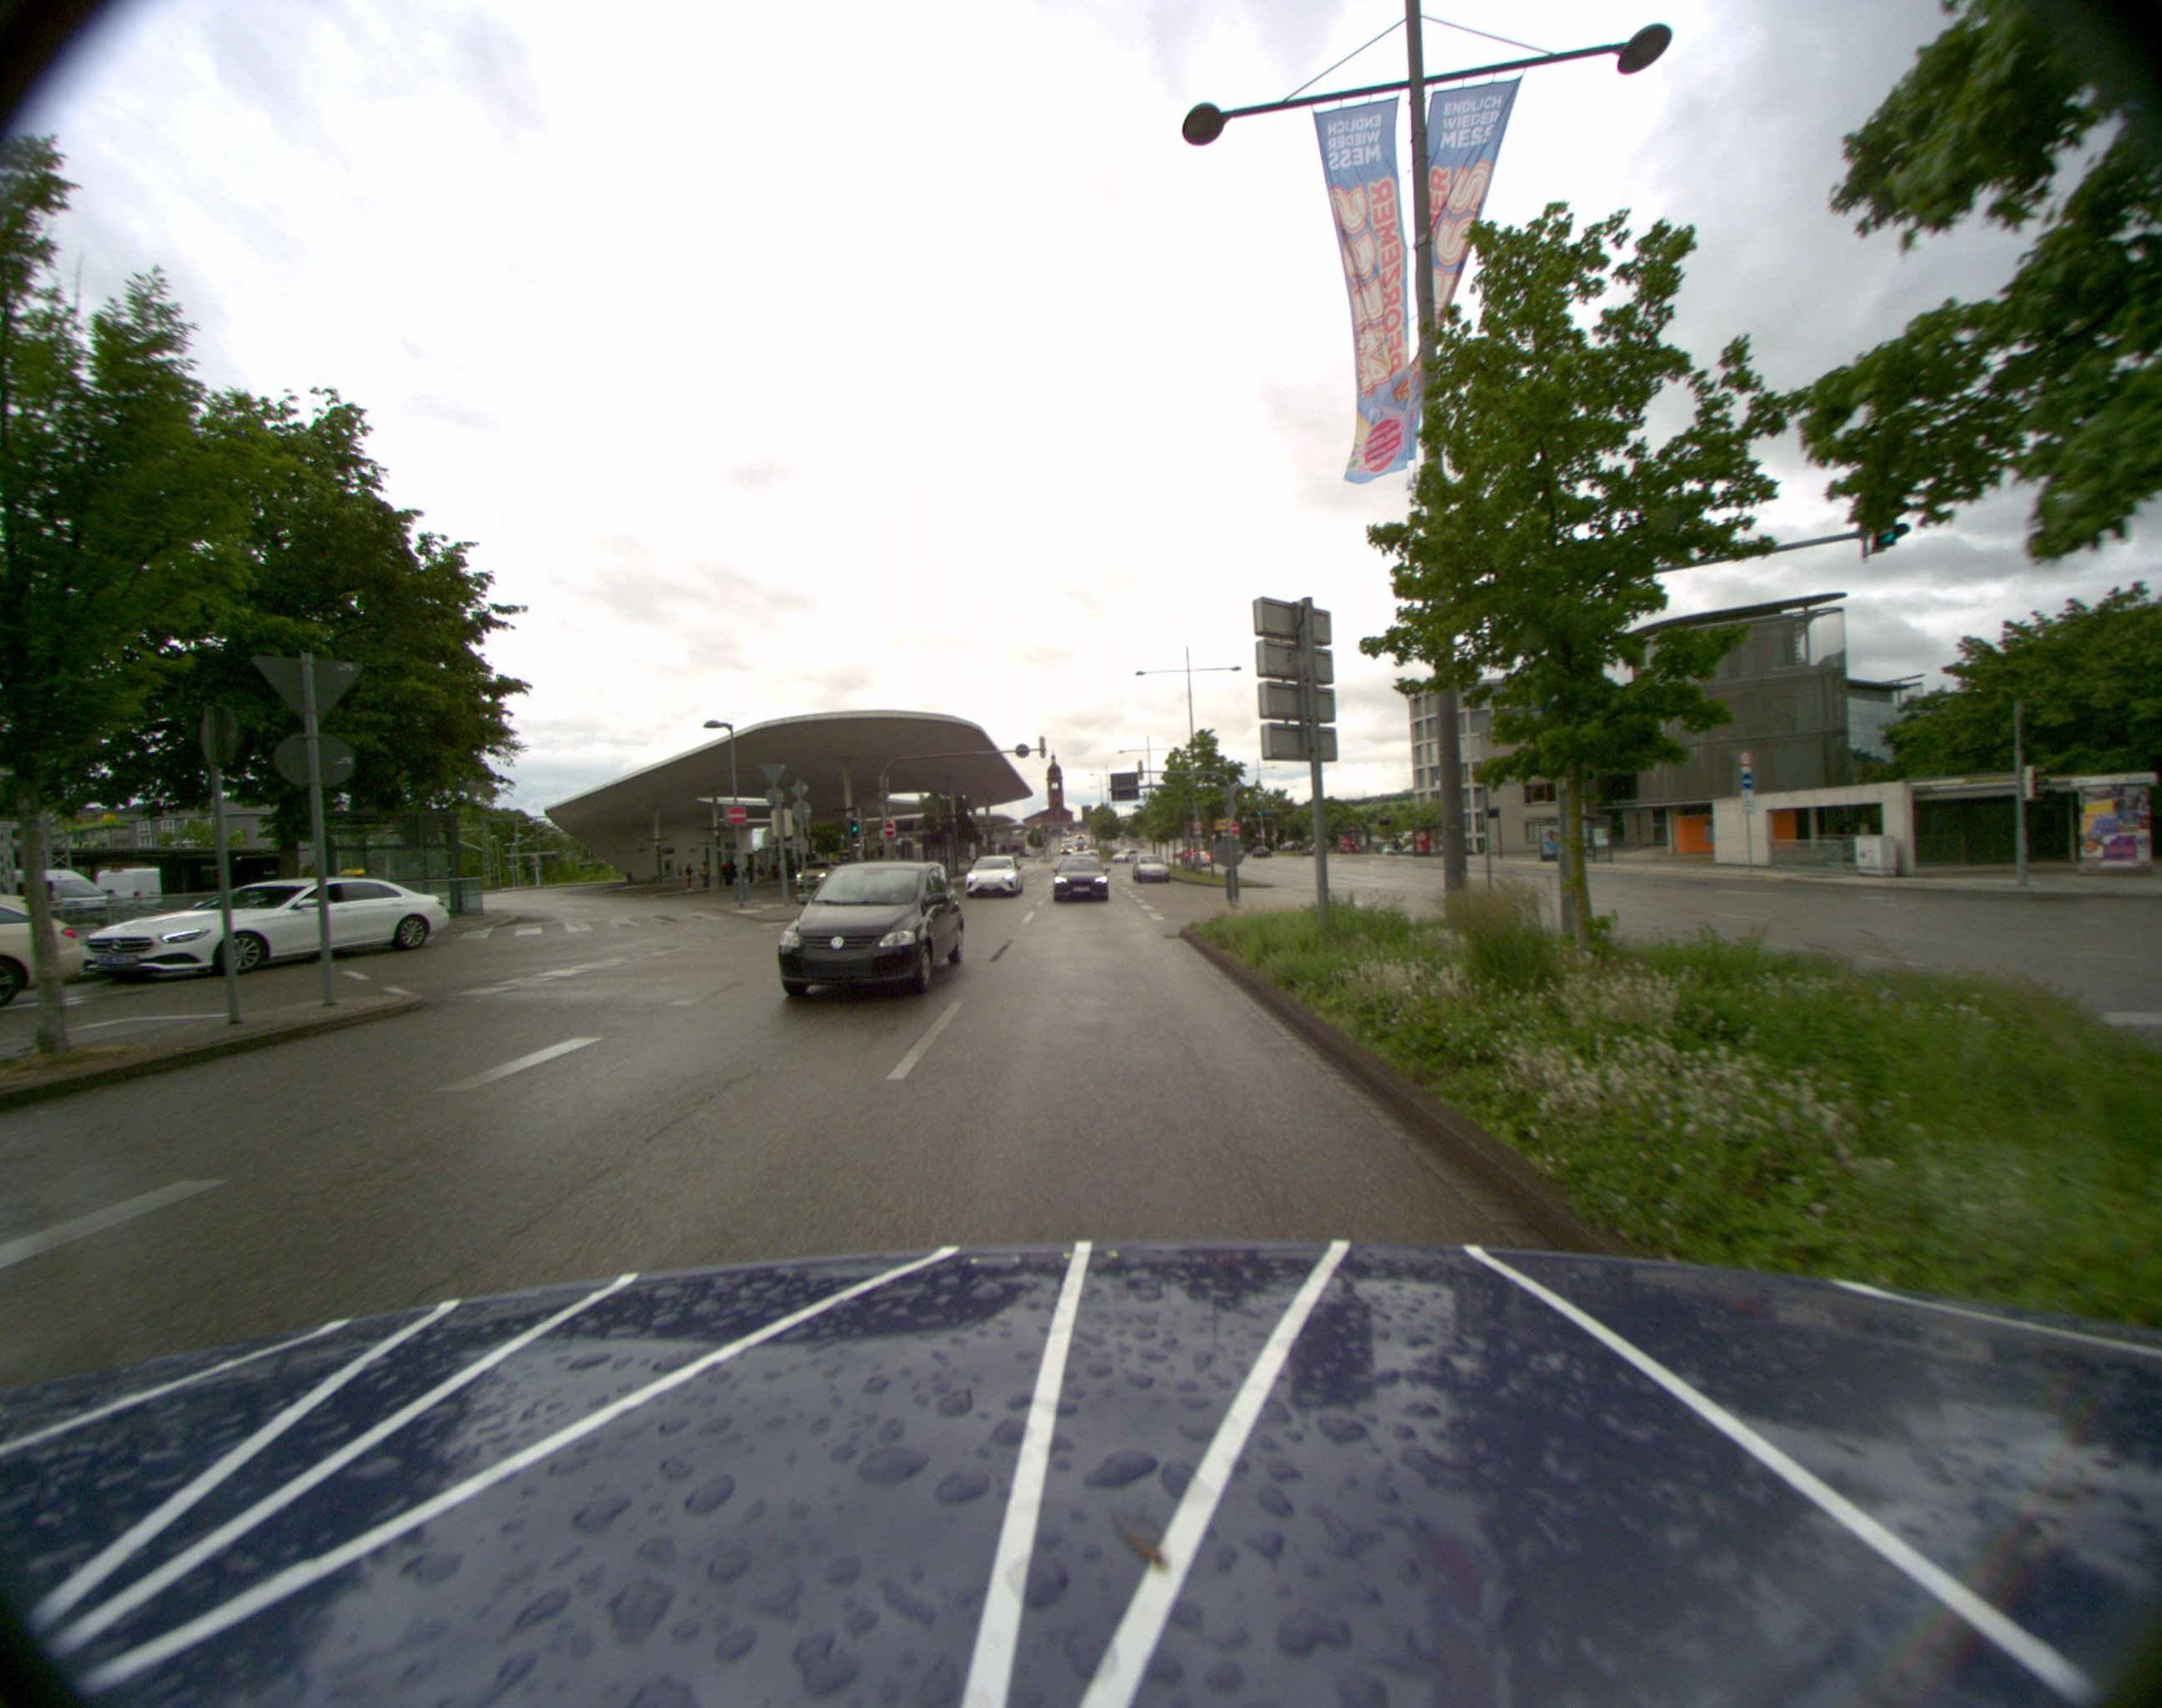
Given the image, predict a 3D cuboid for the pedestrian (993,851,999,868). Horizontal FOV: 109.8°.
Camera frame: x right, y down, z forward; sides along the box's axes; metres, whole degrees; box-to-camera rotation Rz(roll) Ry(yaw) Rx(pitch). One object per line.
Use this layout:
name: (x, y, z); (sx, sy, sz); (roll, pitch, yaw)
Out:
pedestrian: (-8.941, 0.586, 79.906); (0.446, 1.754, 0.536); (-2, 1, -20)

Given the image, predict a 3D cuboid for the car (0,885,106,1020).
car: (-14.063, 1.236, 7.656); (1.998, 1.590, 4.958); (-1, 1, 1)

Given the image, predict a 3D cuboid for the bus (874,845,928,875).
bus: (-19.447, 0.554, 83.140); (2.876, 3.064, 11.921); (-1, 0, 1)

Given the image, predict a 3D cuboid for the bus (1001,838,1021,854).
bus: (-14.394, -1.565, 155.155); (3.585, 3.080, 10.745); (-2, 1, -8)

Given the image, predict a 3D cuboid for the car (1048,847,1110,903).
car: (-0.142, 0.628, 25.757); (1.876, 1.692, 4.155); (-1, 1, -3)

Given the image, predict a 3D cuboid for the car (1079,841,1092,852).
car: (0.829, -1.450, 141.520); (1.999, 2.002, 3.997); (-1, 1, -5)

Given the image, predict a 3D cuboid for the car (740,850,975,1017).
car: (-2.618, 0.815, 9.999); (1.876, 1.692, 4.156); (-1, 1, -1)

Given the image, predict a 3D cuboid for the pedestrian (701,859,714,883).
pedestrian: (-23.715, 1.059, 48.220); (0.533, 1.505, 0.480); (-1, 1, 35)

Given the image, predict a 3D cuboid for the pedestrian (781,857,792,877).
pedestrian: (-21.664, 0.957, 55.908); (0.478, 1.505, 0.535); (-1, 1, 4)

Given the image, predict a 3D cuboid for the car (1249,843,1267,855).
car: (22.686, -0.671, 97.579); (1.680, 1.503, 3.864); (-1, 1, 4)

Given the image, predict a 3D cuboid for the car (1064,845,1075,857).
car: (-2.053, -0.525, 138.210); (1.999, 2.002, 3.998); (-1, 1, -1)

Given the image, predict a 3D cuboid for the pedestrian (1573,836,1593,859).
pedestrian: (28.699, -0.374, 43.459); (0.668, 1.292, 0.720); (-1, 1, 6)

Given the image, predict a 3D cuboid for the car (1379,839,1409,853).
car: (38.253, -1.002, 92.743); (4.165, 1.692, 1.871); (-2, 2, -44)

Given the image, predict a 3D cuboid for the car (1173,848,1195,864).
car: (11.045, 0.218, 81.431); (2.009, 1.545, 4.165); (-1, 1, 3)

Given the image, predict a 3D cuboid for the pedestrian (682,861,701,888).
pedestrian: (-23.550, 1.228, 45.942); (0.641, 1.586, 0.741); (0, 2, 15)

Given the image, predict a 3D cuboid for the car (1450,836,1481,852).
car: (44.091, -1.151, 87.137); (4.165, 1.692, 1.871); (-2, 2, -44)

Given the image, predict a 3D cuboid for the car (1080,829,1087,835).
car: (0.689, -5.895, 202.093); (1.649, 1.552, 3.648); (-1, 1, -5)

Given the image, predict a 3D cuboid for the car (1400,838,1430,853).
car: (39.944, -0.992, 90.891); (4.165, 1.692, 1.871); (-2, 2, -44)

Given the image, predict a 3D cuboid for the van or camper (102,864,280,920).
van or camper: (-44.854, 1.837, 38.586); (1.998, 2.419, 5.863); (-1, 1, 1)

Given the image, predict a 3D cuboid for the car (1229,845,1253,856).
car: (24.805, -0.534, 117.598); (1.889, 1.704, 4.226); (0, 2, 41)

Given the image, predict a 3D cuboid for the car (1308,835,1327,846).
car: (42.169, -2.347, 135.361); (1.994, 1.871, 4.008); (0, 2, 39)

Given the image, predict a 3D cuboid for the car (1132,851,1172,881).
car: (3.734, 0.620, 40.545); (1.699, 1.457, 3.719); (-1, 1, -1)

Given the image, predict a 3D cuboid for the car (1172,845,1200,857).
car: (14.857, -0.462, 107.451); (1.871, 1.624, 4.165); (-1, 1, 40)

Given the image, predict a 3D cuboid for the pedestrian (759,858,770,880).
pedestrian: (-21.663, 1.025, 51.965); (0.478, 1.505, 0.535); (-1, 1, 4)

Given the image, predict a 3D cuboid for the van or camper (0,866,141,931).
van or camper: (-42.392, 1.759, 30.557); (5.863, 2.420, 2.164); (-1, 1, -6)

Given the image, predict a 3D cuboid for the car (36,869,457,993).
car: (-13.998, 1.159, 13.360); (1.884, 1.590, 4.902); (-1, 1, 1)

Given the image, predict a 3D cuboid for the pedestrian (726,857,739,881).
pedestrian: (-21.831, 0.950, 47.597); (0.534, 1.505, 0.479); (-1, 1, 5)

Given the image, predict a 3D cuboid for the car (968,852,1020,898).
car: (-3.242, 0.738, 28.925); (1.812, 1.550, 4.047); (-1, 1, -4)

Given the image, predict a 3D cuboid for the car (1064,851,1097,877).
car: (-0.080, 0.633, 52.114); (1.876, 1.625, 4.298); (-1, 1, -5)

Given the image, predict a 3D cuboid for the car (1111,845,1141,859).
car: (5.773, -0.284, 96.535); (1.872, 1.625, 4.293); (0, 1, 33)

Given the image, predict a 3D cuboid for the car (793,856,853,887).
car: (-15.321, 0.995, 45.395); (1.998, 1.671, 4.541); (-1, 1, 1)

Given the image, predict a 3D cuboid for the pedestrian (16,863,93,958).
pedestrian: (-24.304, 1.302, 18.008); (0.799, 2.152, 0.721); (-2, 2, -30)

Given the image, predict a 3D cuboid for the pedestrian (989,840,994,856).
pedestrian: (-9.453, -0.629, 80.101); (0.445, 1.754, 0.537); (-2, 1, -6)

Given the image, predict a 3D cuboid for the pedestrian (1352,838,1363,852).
pedestrian: (29.976, -0.959, 82.400); (0.983, 1.482, 0.735); (0, 2, 11)

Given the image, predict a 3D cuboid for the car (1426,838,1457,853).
car: (42.098, -0.996, 88.729); (4.165, 1.692, 1.871); (-2, 1, -44)

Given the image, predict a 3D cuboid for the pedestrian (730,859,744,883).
pedestrian: (-21.216, 1.044, 46.873); (0.534, 1.505, 0.479); (-1, 1, 5)

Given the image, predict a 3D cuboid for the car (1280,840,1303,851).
car: (33.494, -1.413, 120.887); (1.889, 1.704, 4.226); (0, 2, 42)

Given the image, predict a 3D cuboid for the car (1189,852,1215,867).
car: (11.841, 0.542, 74.552); (2.010, 1.345, 4.164); (-1, 1, 1)

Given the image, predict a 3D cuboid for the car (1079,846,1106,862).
car: (1.261, -0.008, 84.140); (1.873, 1.625, 4.162); (0, 1, 17)

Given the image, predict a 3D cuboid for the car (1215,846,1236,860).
car: (15.559, -0.144, 81.885); (1.698, 1.457, 4.452); (-1, 1, 4)

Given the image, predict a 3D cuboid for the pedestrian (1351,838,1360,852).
pedestrian: (30.109, -0.978, 83.368); (0.732, 1.482, 0.734); (-1, 2, 9)

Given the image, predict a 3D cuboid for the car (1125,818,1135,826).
car: (11.889, -7.732, 184.683); (1.874, 1.624, 4.161); (-1, 1, 13)
